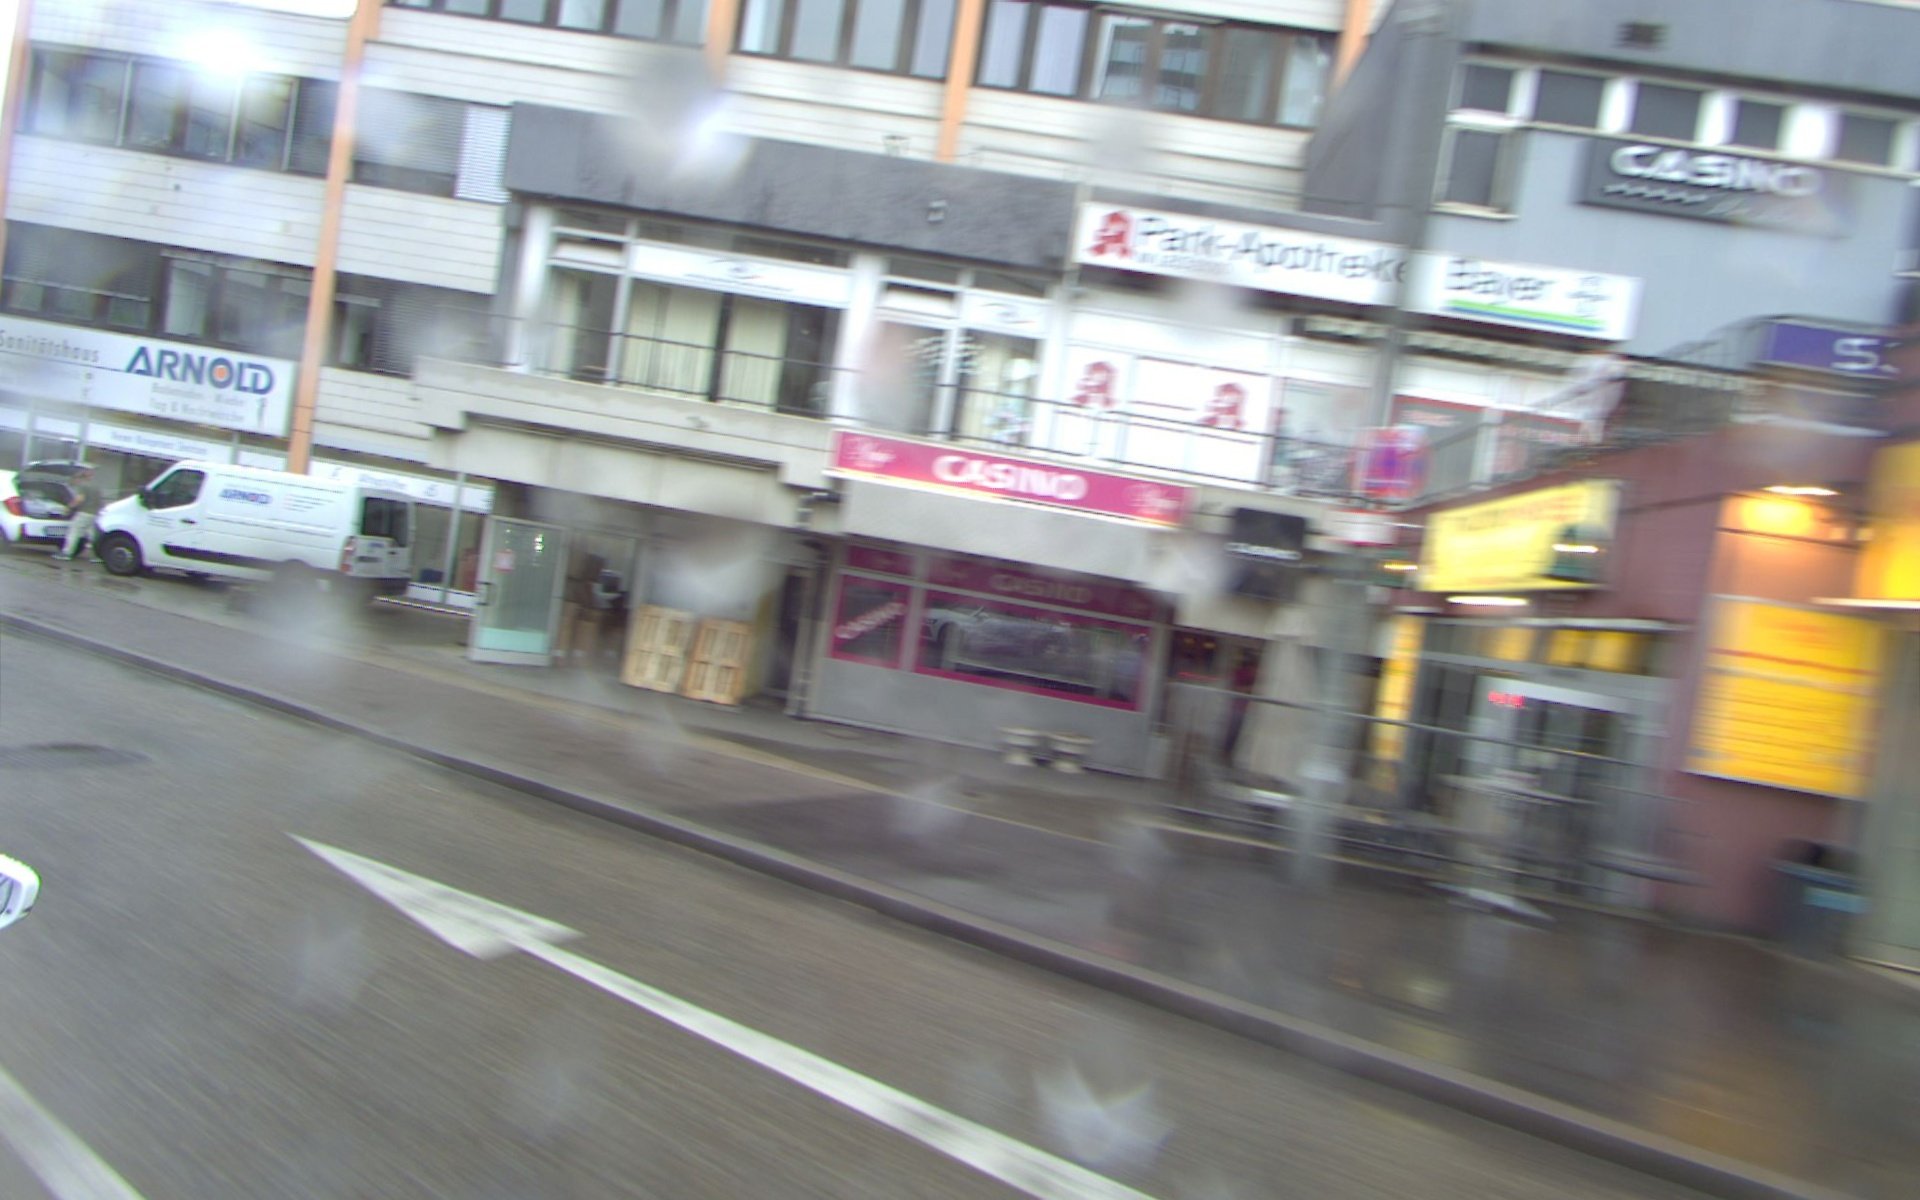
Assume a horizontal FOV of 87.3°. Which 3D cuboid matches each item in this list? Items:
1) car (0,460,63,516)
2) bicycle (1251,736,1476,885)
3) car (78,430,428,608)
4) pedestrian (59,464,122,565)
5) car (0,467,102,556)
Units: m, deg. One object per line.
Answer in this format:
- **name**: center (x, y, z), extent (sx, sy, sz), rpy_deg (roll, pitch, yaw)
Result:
- **car**: center (-28.468, -3.387, 28.591), extent (1.704, 1.429, 4.399), rpy_deg (8, 1, 4)
- **bicycle**: center (3.318, 1.733, 8.331), extent (1.549, 0.950, 0.530), rpy_deg (7, 3, -6)
- **car**: center (-12.846, -1.440, 18.523), extent (4.788, 2.237, 2.005), rpy_deg (10, 3, 0)
- **pedestrian**: center (-16.529, -1.622, 19.135), extent (0.590, 1.789, 0.594), rpy_deg (9, 2, 29)
- **car**: center (-18.642, -1.820, 19.097), extent (3.359, 1.480, 1.617), rpy_deg (7, 0, 6)
